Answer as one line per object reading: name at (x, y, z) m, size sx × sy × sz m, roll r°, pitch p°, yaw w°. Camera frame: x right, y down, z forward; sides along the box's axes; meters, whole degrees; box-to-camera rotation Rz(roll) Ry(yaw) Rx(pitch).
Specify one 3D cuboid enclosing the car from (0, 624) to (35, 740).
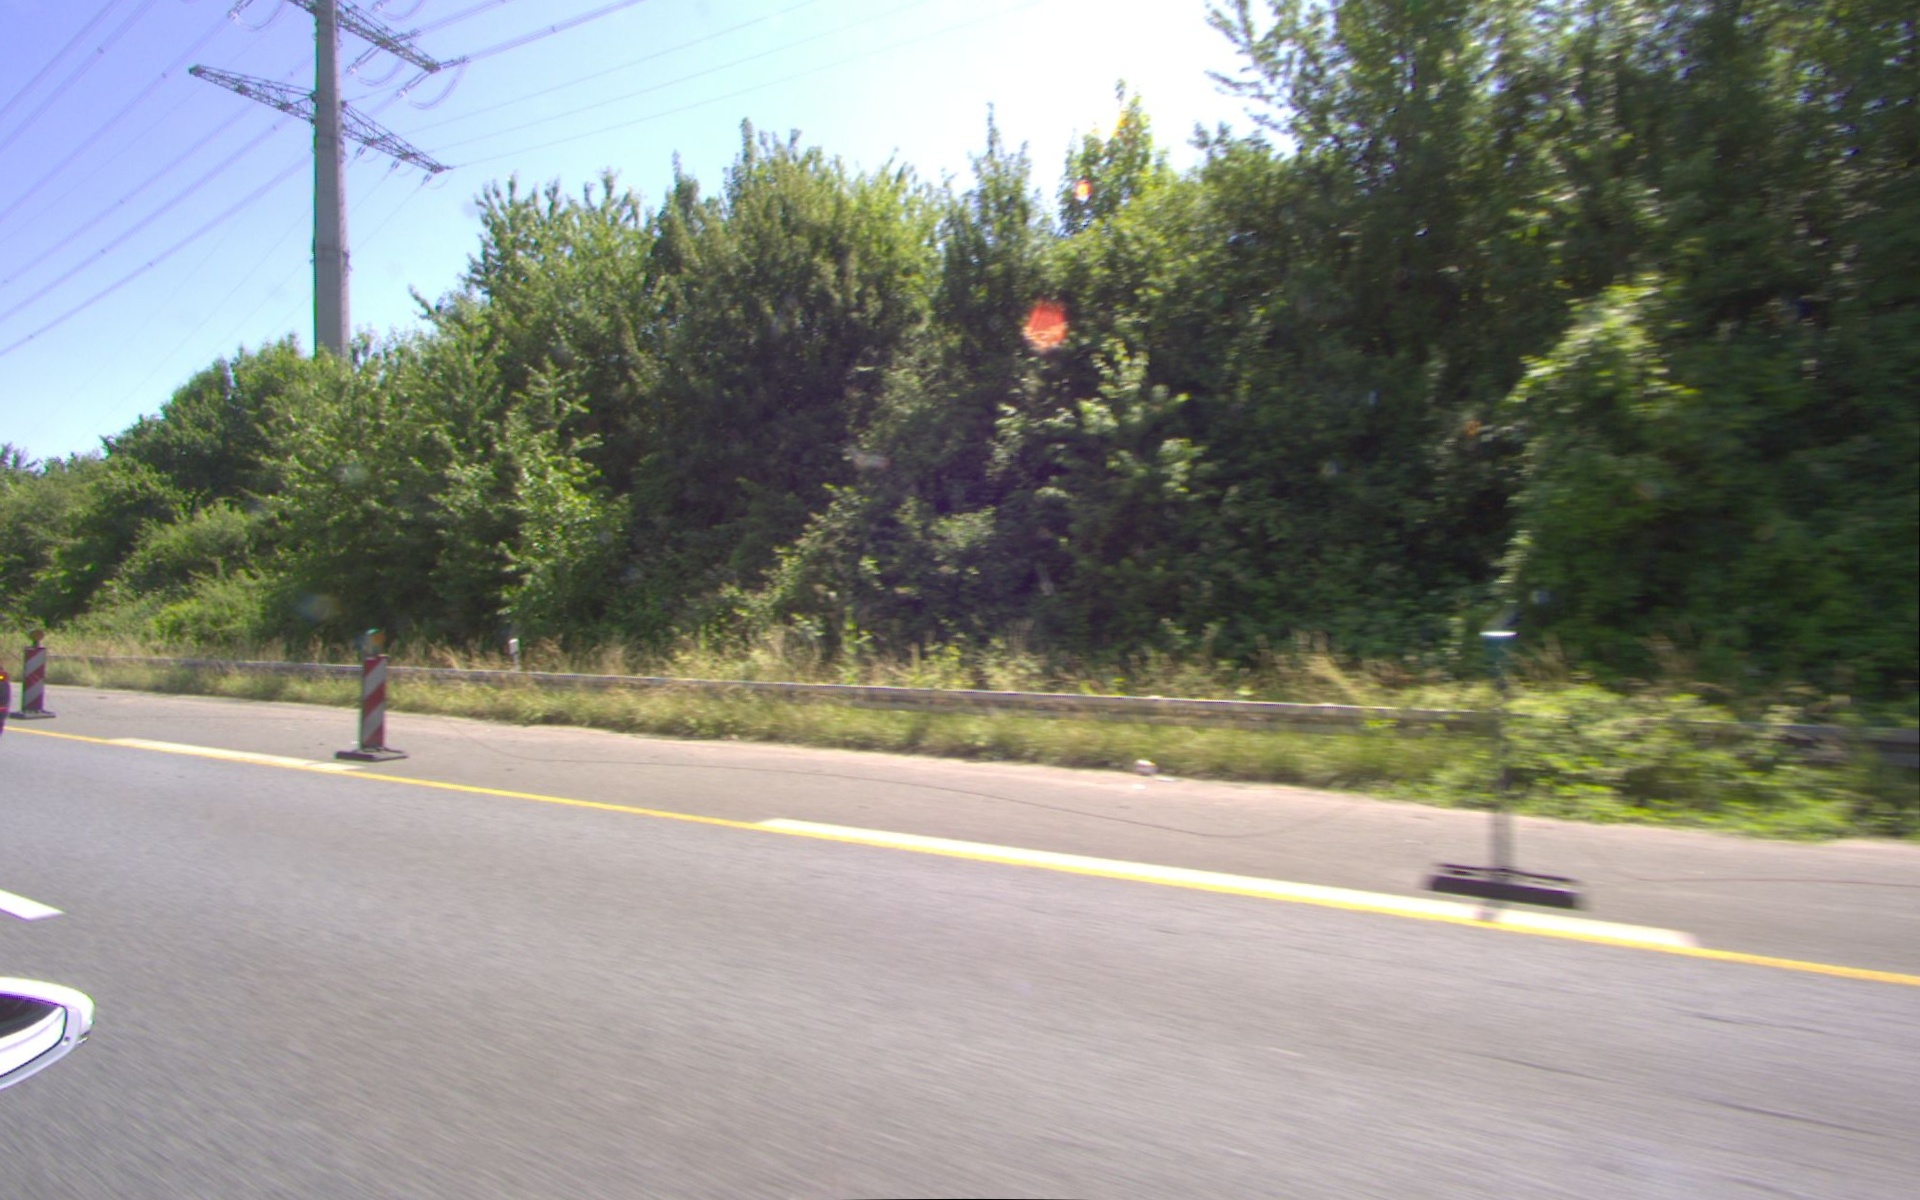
car at (-14.676, 1.074, 13.709) m, size 4.398 × 1.507 × 1.777 m, roll -1°, pitch -2°, yaw 31°
